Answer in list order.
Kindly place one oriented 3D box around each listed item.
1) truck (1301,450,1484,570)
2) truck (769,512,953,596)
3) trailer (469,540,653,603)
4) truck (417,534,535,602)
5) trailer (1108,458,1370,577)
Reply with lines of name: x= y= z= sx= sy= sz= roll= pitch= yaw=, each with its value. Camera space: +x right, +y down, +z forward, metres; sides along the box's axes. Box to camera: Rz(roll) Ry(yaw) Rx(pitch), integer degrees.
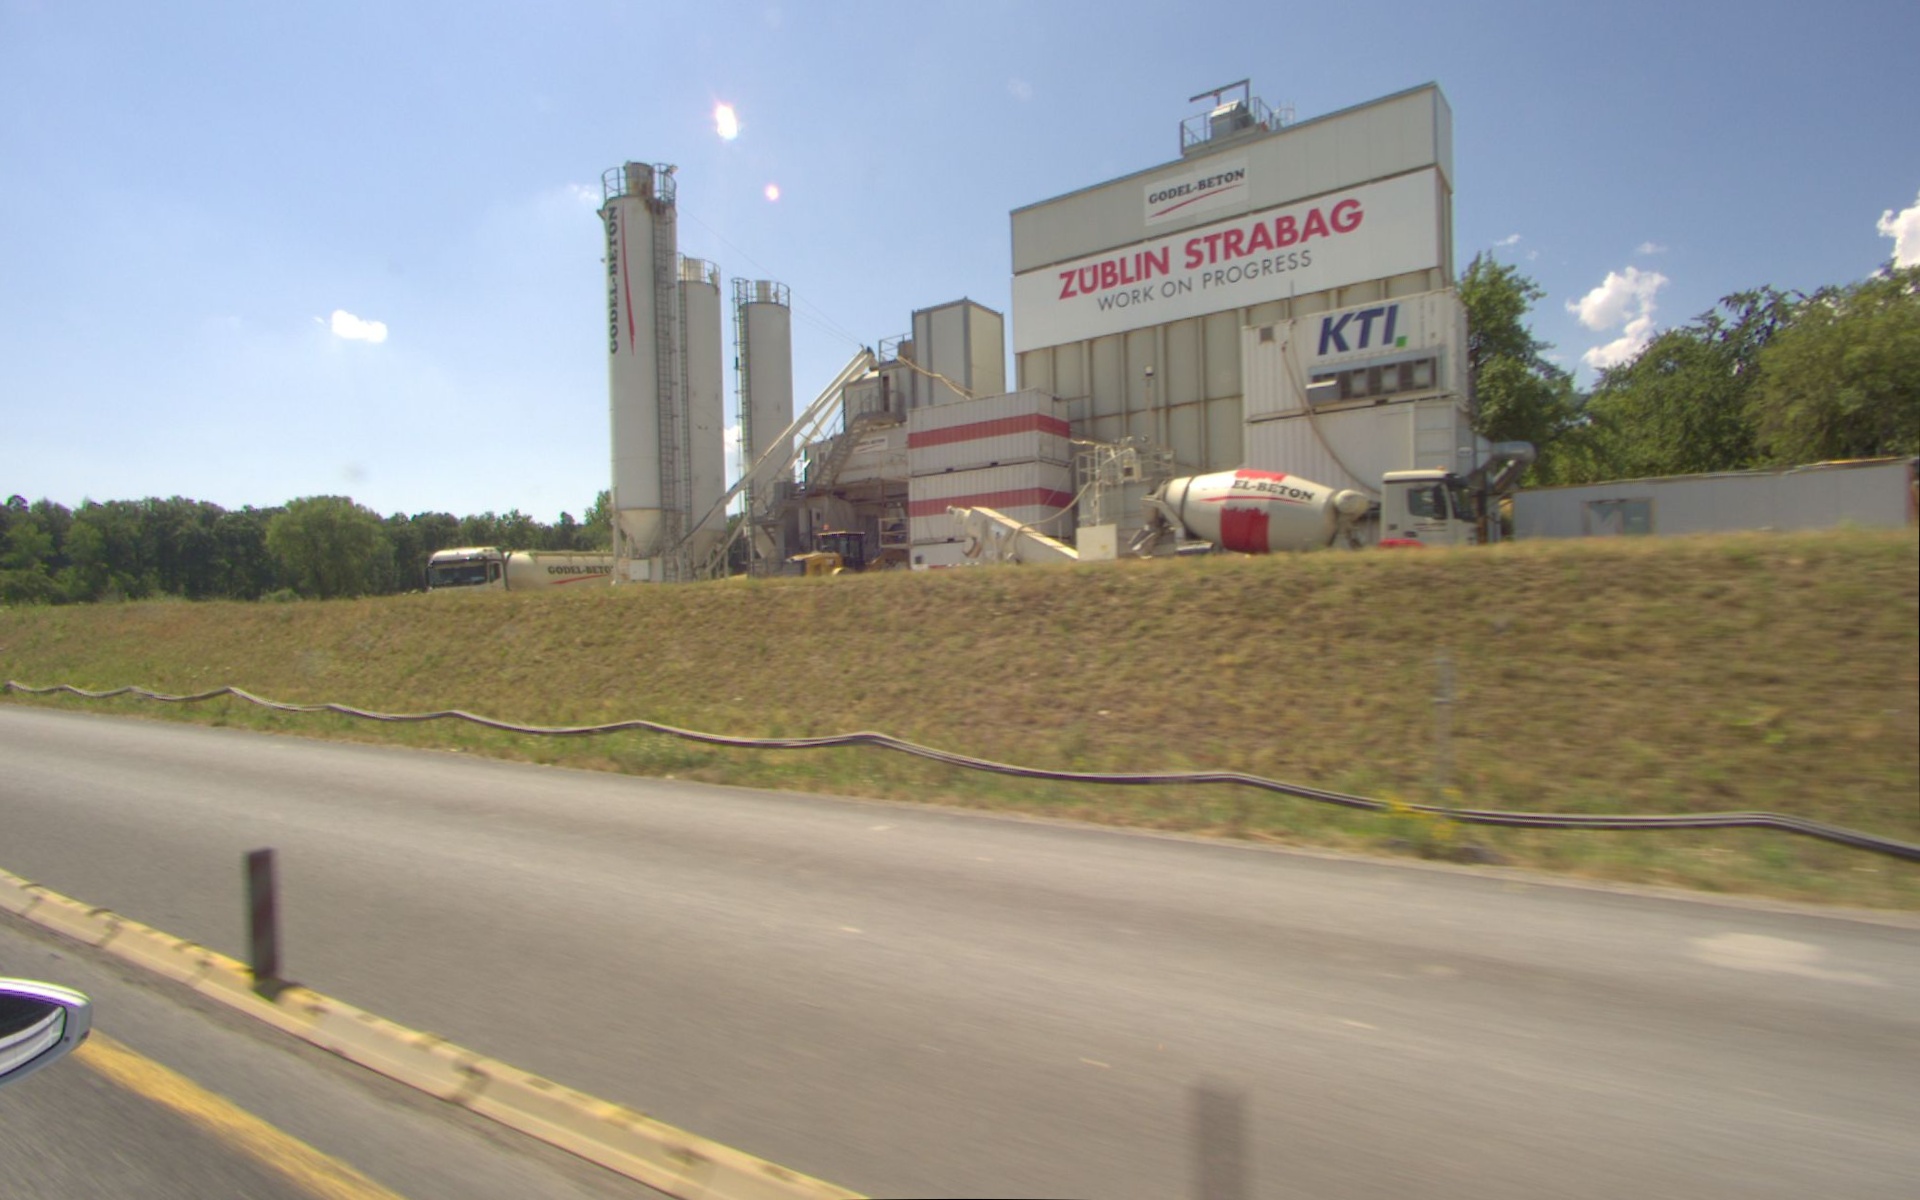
truck: x=11.054 y=-2.177 z=25.667 sx=3.987 sy=2.577 sz=2.011 roll=-1 pitch=-2 yaw=36
truck: x=-4.012 y=-1.801 z=43.257 sx=2.429 sy=2.904 sz=9.041 roll=-1 pitch=-2 yaw=38
trailer: x=-19.164 y=-1.232 z=48.896 sx=2.426 sy=2.640 sz=8.888 roll=-1 pitch=-1 yaw=28
truck: x=-20.895 y=-1.289 z=43.575 sx=2.849 sy=2.576 sz=5.310 roll=0 pitch=-2 yaw=-4
trailer: x=7.661 y=-2.146 z=28.088 sx=6.845 sy=2.678 sz=1.988 roll=-1 pitch=-2 yaw=36
